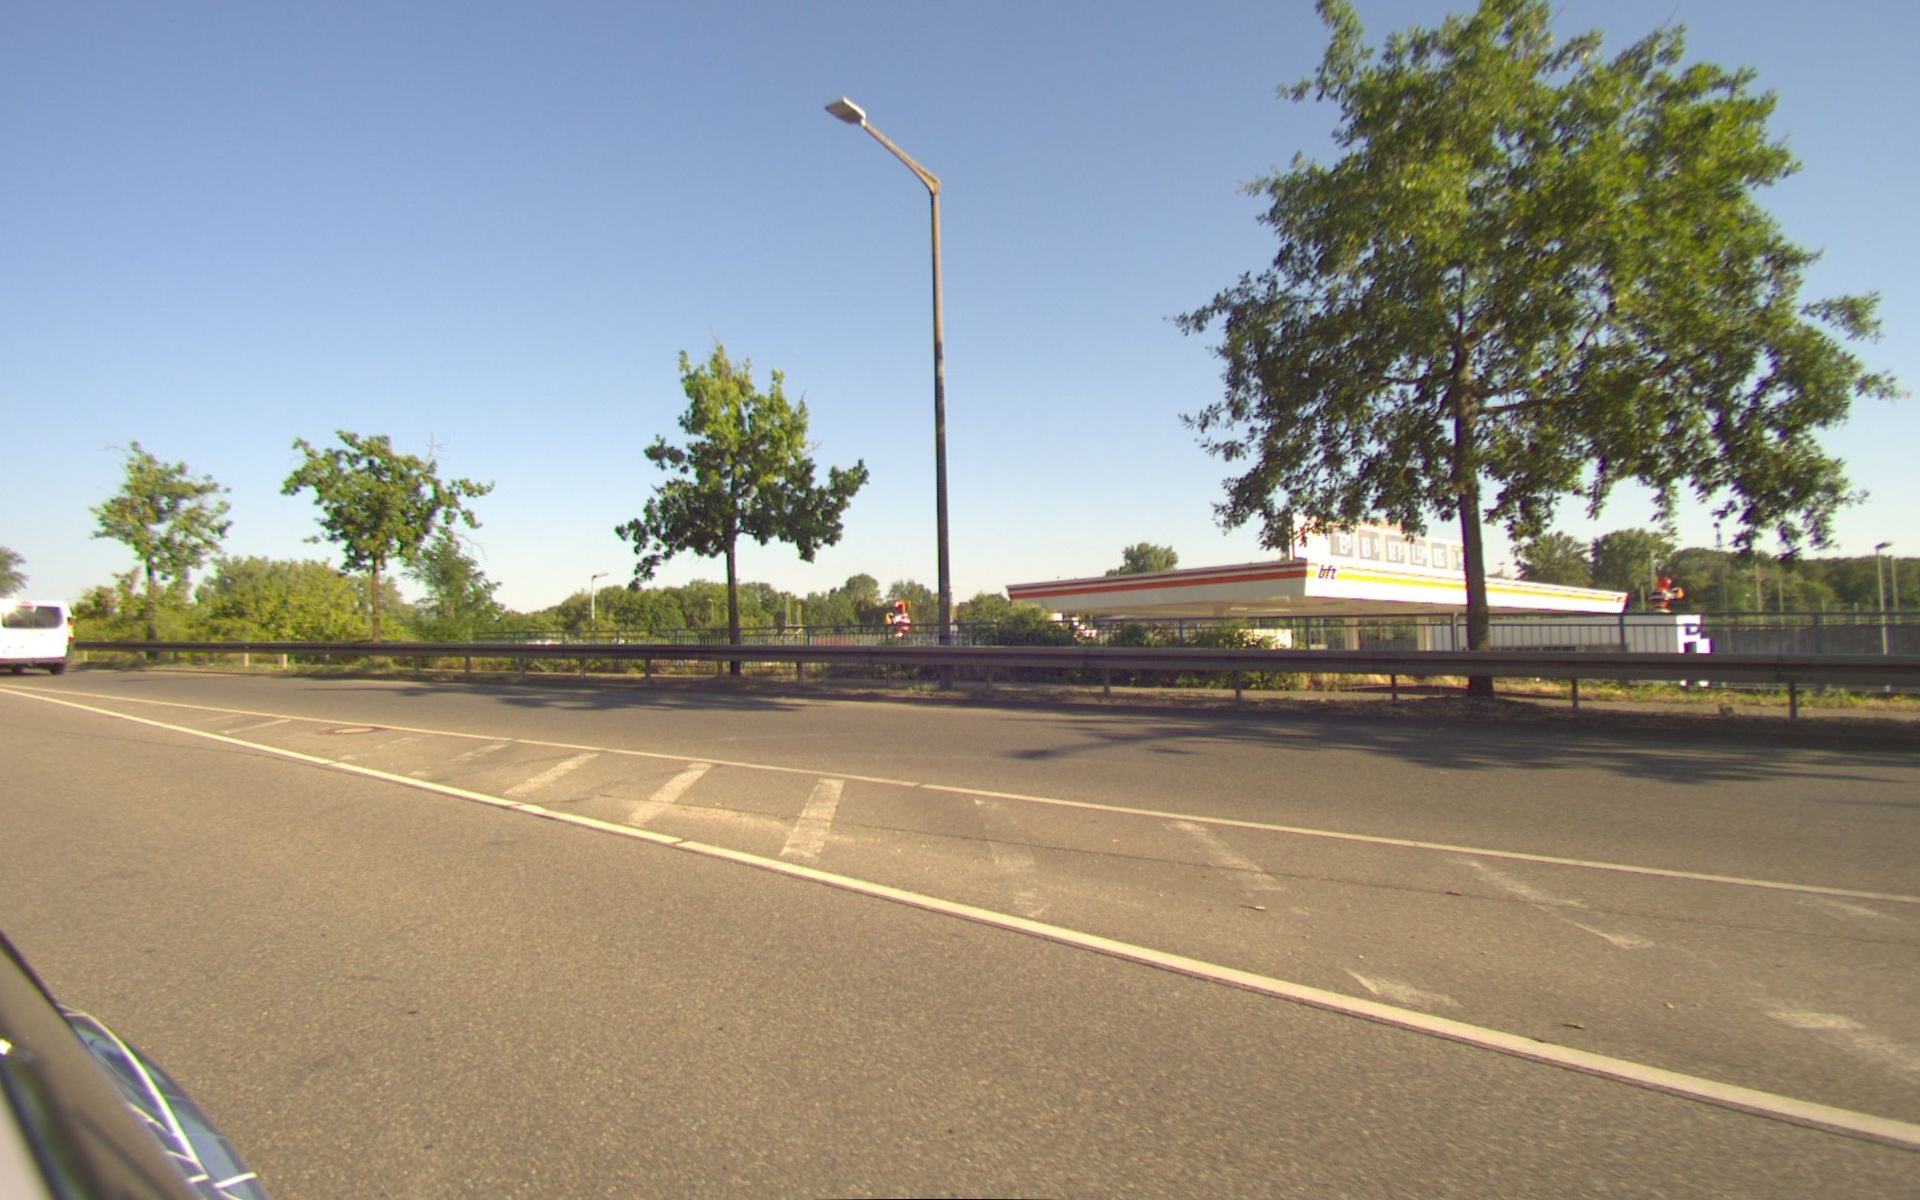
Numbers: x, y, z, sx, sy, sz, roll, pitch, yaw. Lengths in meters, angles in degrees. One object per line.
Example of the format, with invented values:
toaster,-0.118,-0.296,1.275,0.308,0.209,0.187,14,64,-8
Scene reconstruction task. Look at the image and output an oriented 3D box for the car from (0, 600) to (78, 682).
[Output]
car,-25.828,1.041,27.140,5.243,2.029,1.864,-1,0,32
